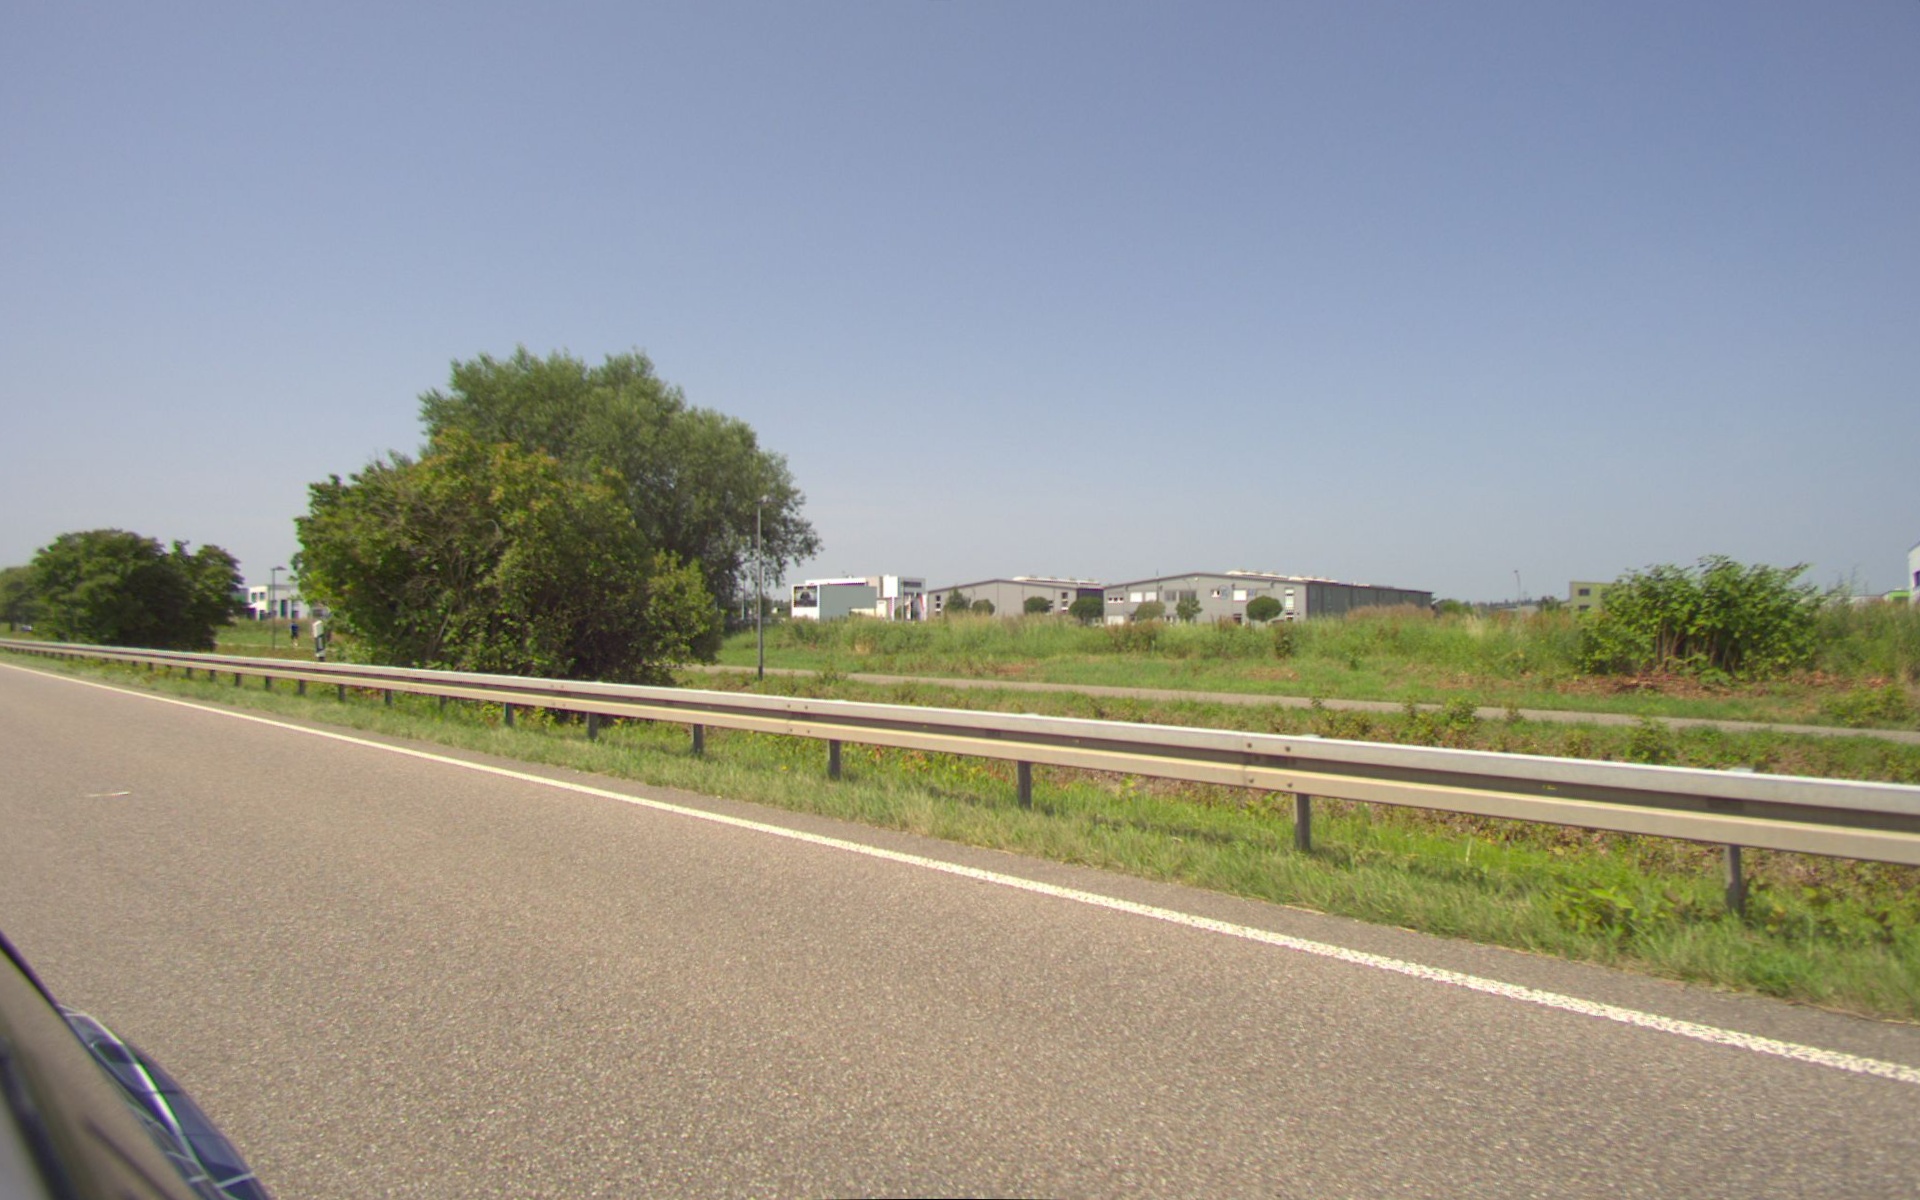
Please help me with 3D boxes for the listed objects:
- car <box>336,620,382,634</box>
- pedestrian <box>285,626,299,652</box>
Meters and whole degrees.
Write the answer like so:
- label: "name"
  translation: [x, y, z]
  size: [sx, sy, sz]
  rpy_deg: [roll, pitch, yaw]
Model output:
- label: "car"
  translation: [-67.307, 3.027, 113.410]
  size: [1.620, 1.448, 4.191]
  rpy_deg: [-1, -3, 33]
- label: "pedestrian"
  translation: [-45.140, 2.641, 68.354]
  size: [0.572, 1.763, 0.821]
  rpy_deg: [3, -3, -45]
